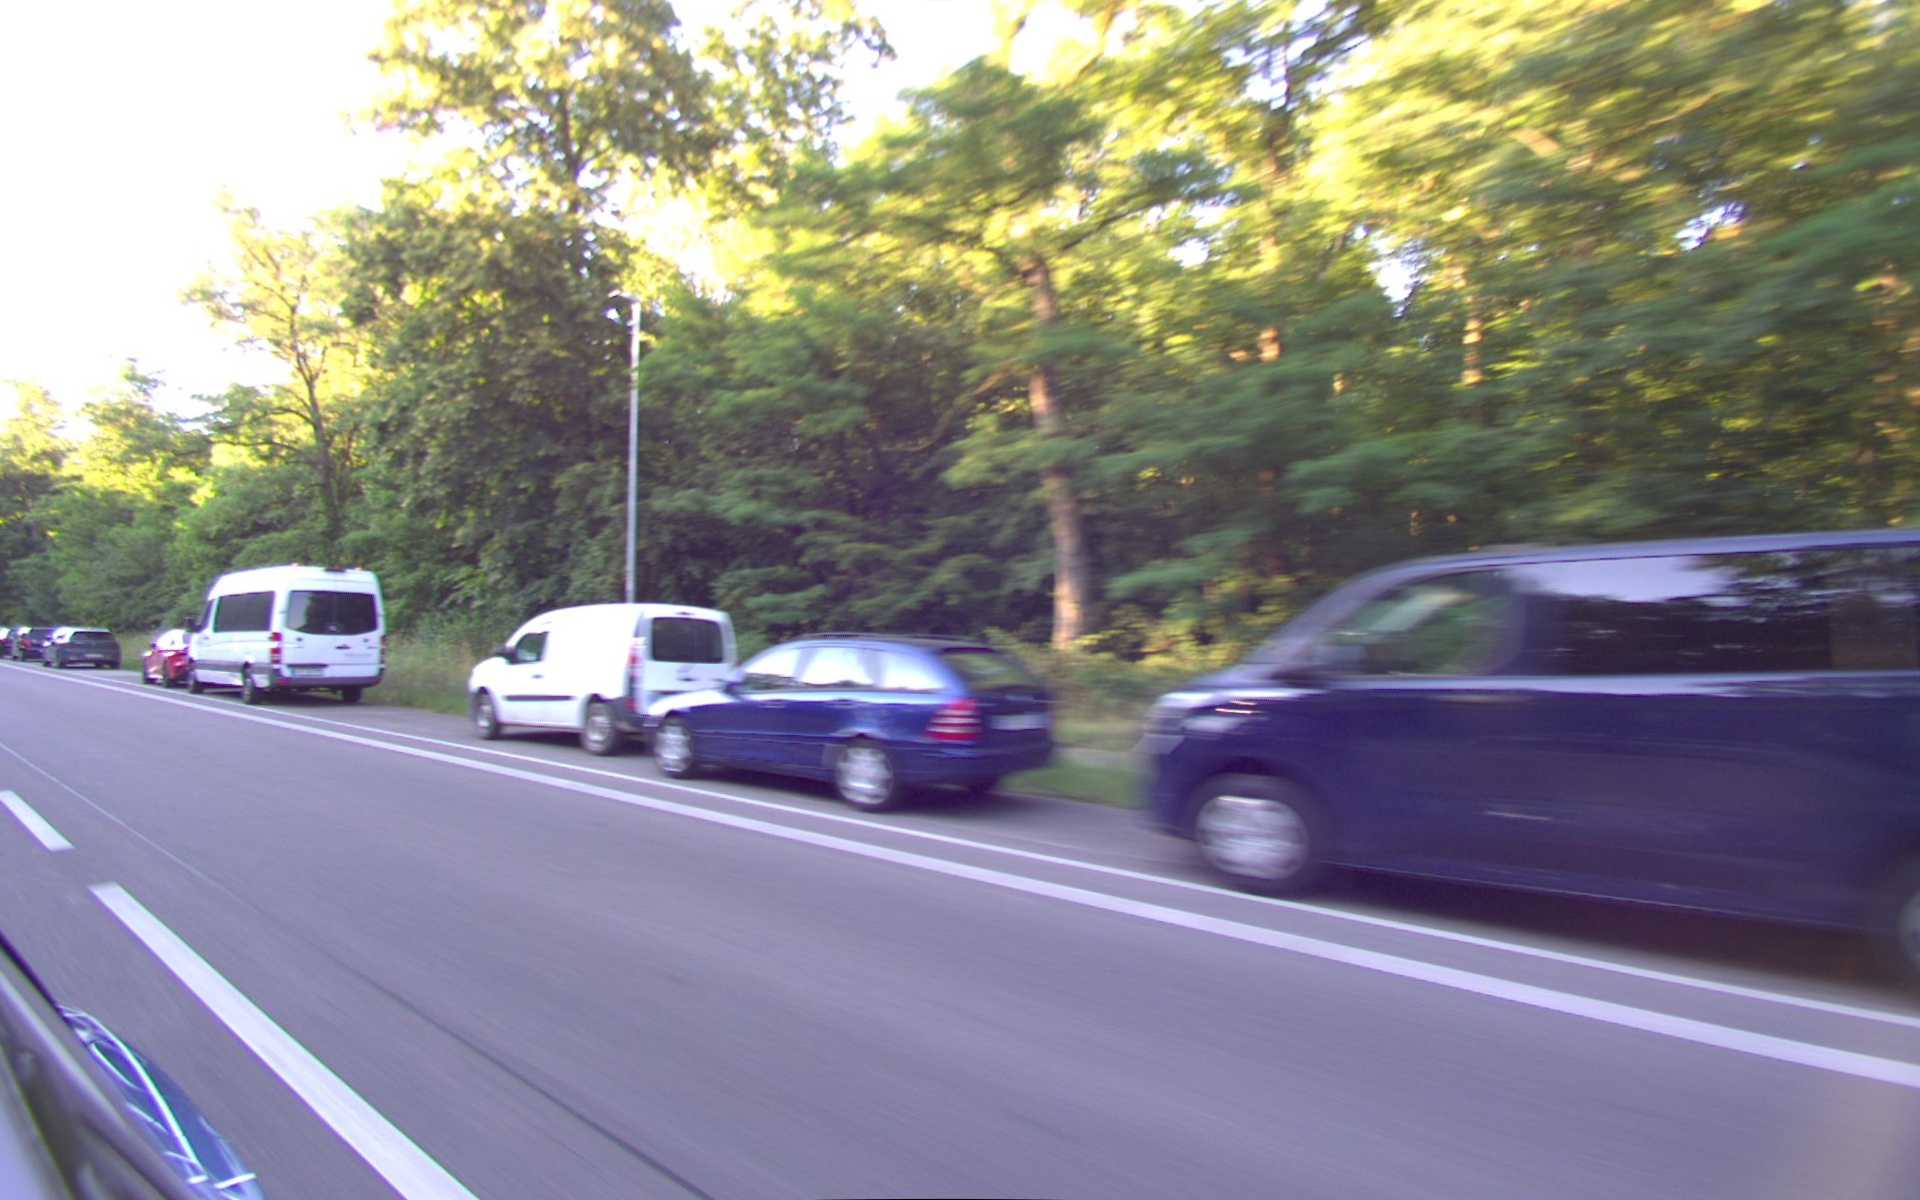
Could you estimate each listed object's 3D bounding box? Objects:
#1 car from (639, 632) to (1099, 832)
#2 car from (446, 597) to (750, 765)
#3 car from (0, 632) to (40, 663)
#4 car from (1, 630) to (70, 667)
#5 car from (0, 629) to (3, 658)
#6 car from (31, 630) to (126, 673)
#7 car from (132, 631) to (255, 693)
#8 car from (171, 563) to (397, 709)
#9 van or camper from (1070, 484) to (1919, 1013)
[{"bbox_3d":[-1.030,1.035,9.422,4.445,1.444,1.652,-2,-3,41],"label":"car"},{"bbox_3d":[-4.870,0.983,13.344,4.381,1.872,1.671,-1,-4,38],"label":"car"},{"bbox_3d":[-44.458,2.219,47.318,4.049,1.405,1.581,-2,-3,41],"label":"car"},{"bbox_3d":[-39.693,2.057,43.412,3.654,1.520,1.694,-2,-4,41],"label":"car"},{"bbox_3d":[-57.192,2.519,58.805,4.568,1.659,1.678,-2,-4,39],"label":"car"},{"bbox_3d":[-31.930,1.864,36.622,4.224,1.474,1.827,-2,-4,39],"label":"car"},{"bbox_3d":[-19.451,1.501,25.607,4.387,1.441,1.697,-2,-3,42],"label":"car"},{"bbox_3d":[-14.377,0.773,21.278,7.085,2.626,2.057,-1,-5,41],"label":"car"},{"bbox_3d":[3.428,0.640,5.424,5.455,2.033,1.982,-1,-4,39],"label":"van or camper"}]
